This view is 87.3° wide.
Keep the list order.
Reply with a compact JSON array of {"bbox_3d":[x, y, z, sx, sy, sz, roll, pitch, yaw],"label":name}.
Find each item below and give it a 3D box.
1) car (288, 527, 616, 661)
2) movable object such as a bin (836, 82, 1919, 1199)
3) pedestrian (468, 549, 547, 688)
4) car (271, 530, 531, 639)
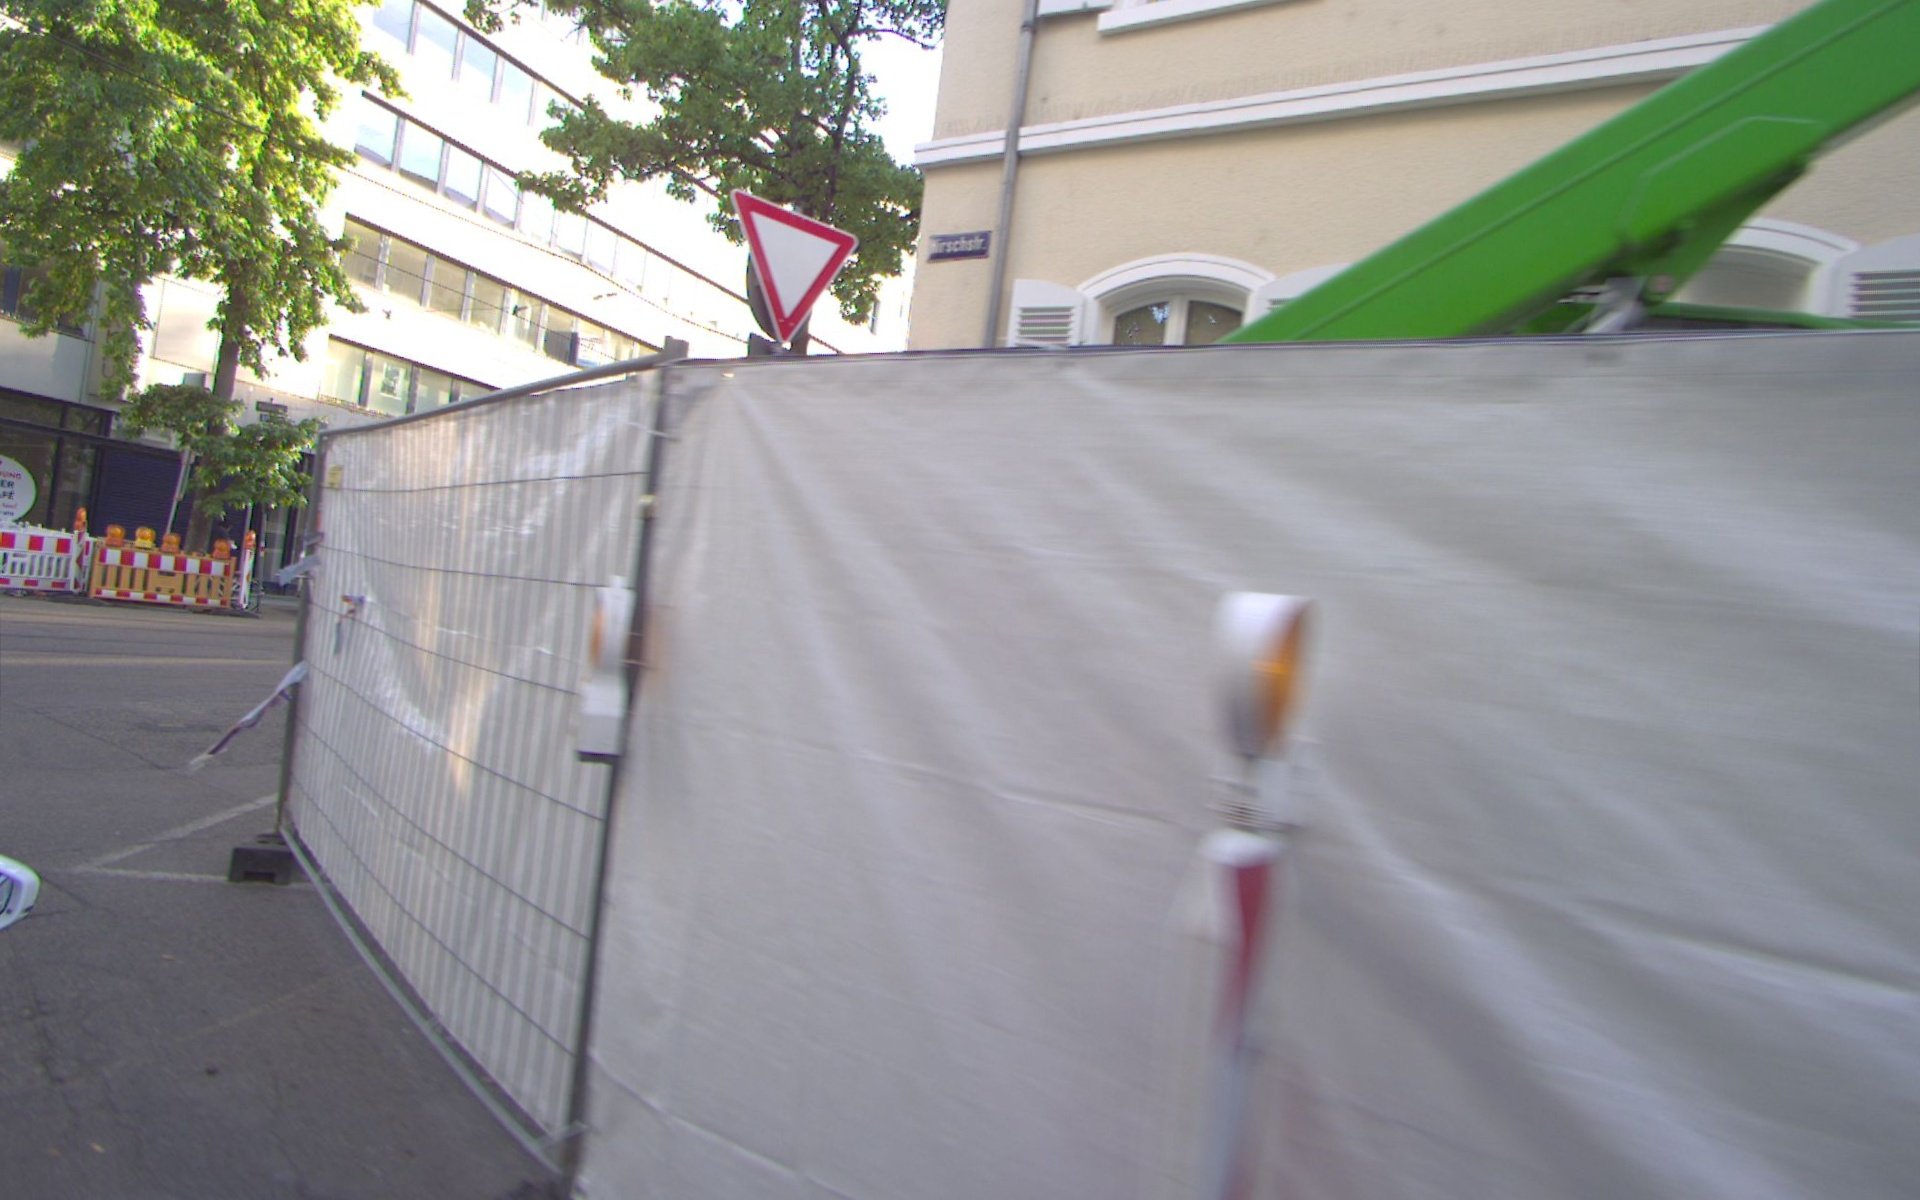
[{"bbox_3d":[-8.955,0.005,18.291,1.987,1.745,4.943,6,-2,29],"label":"car"},{"bbox_3d":[2.316,0.558,3.015,4.374,2.873,2.610,7,0,29],"label":"movable object such as a bin"},{"bbox_3d":[-6.326,0.241,14.115,0.795,1.798,1.067,7,0,-23],"label":"pedestrian"},{"bbox_3d":[-13.074,-0.271,23.923,1.987,1.796,4.943,9,-1,29],"label":"car"}]
